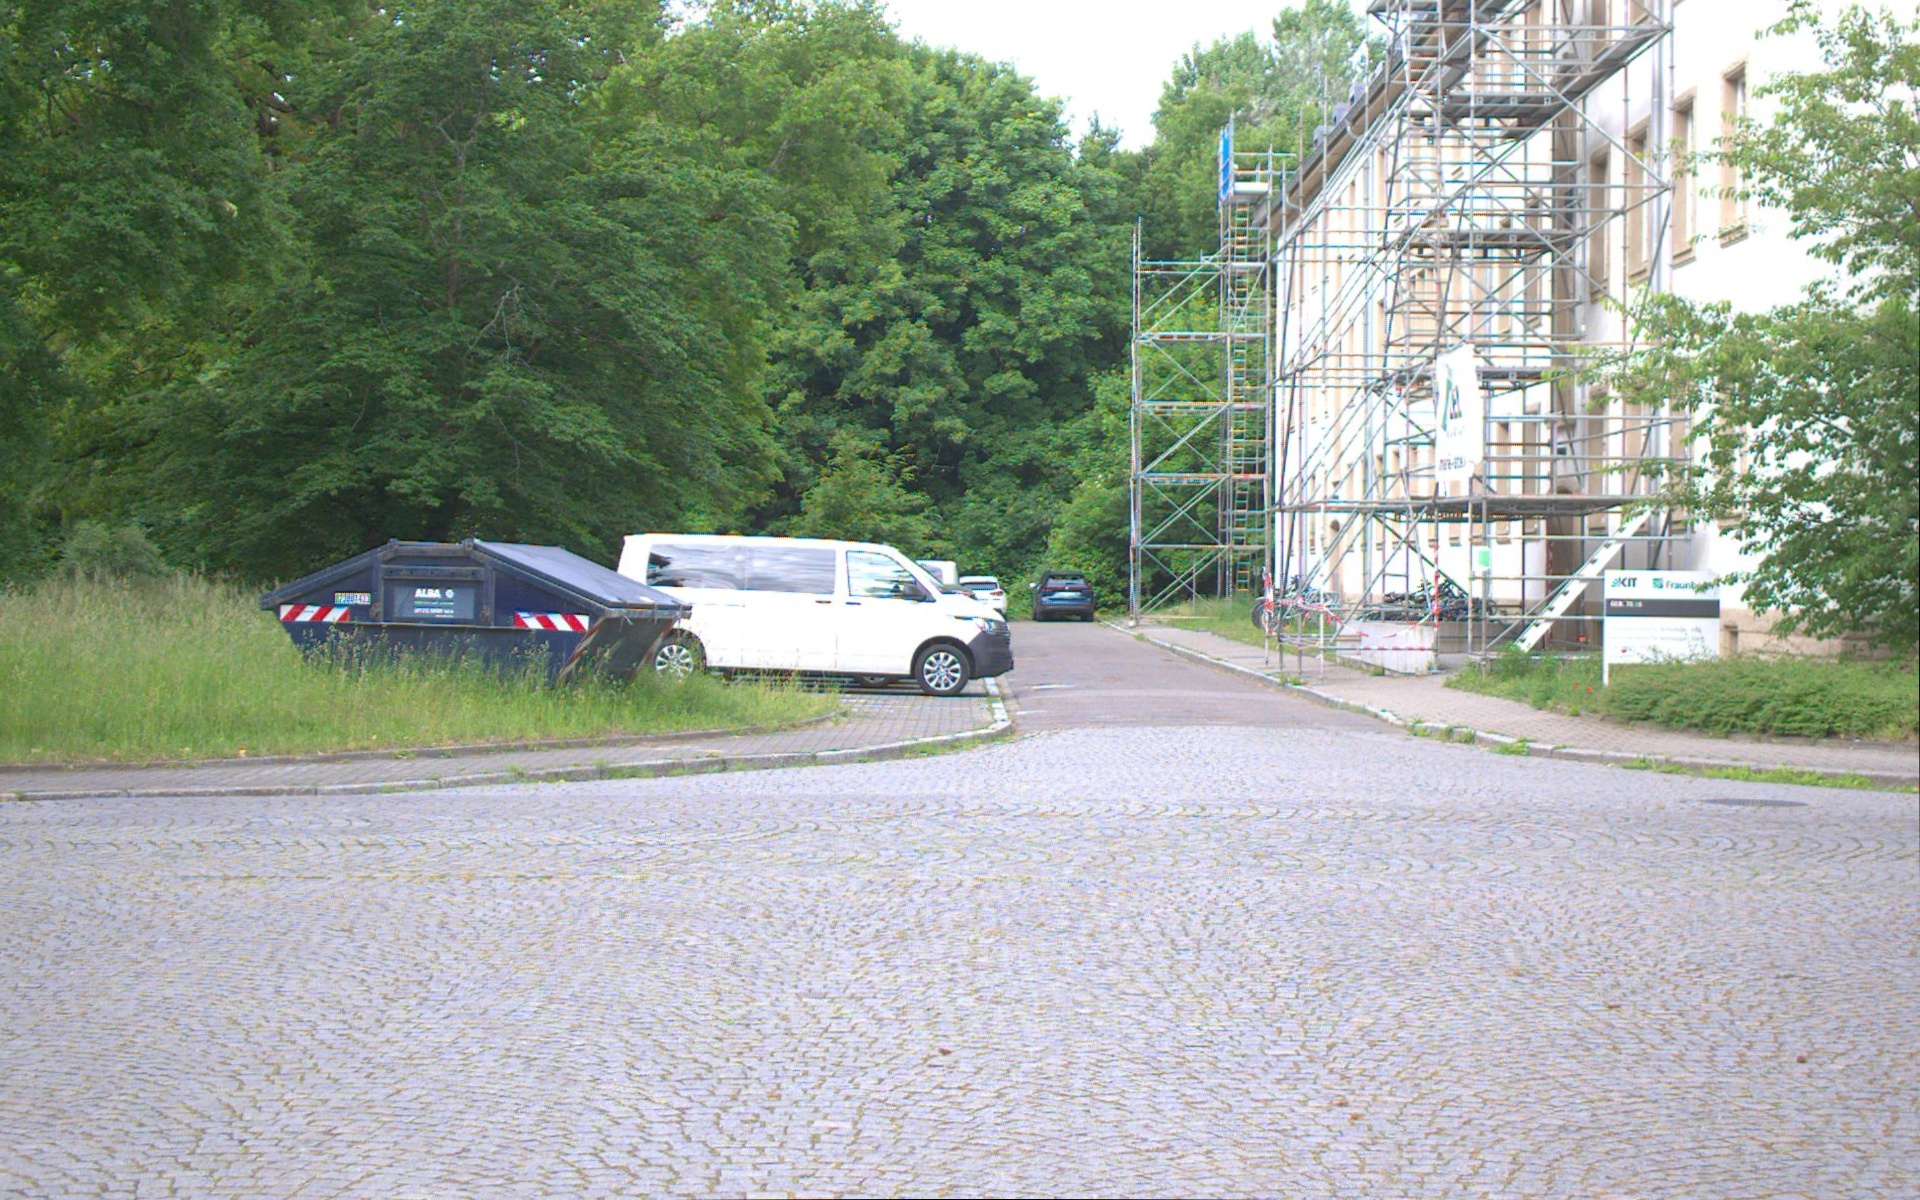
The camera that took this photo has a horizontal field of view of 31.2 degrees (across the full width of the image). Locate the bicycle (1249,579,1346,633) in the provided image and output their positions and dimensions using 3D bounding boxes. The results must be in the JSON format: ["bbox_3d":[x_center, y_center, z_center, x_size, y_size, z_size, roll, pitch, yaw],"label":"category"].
[{"bbox_3d":[7.956,0.140,81.100,2.240,1.250,0.627,1,0,3],"label":"bicycle"}]

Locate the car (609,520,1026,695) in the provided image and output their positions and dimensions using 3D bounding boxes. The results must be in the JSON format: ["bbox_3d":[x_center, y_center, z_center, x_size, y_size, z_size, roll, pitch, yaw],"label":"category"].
[{"bbox_3d":[-1.827,0.092,44.343,5.234,2.160,2.000,1,0,-2],"label":"car"}]

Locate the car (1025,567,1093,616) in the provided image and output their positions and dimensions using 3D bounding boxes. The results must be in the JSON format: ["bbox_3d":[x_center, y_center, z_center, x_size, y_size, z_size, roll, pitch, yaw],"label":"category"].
[{"bbox_3d":[3.166,-0.278,110.601,1.951,1.516,4.000,1,0,-1],"label":"car"}]

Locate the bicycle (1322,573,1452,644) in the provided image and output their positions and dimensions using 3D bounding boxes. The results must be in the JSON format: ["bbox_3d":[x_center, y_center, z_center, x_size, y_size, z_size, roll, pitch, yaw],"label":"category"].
[{"bbox_3d":[7.622,0.145,61.491,2.240,1.250,0.777,1,0,3],"label":"bicycle"}]

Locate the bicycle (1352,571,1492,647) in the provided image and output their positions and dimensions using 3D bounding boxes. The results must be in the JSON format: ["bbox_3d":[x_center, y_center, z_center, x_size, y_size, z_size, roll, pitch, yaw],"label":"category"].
[{"bbox_3d":[7.679,0.146,57.234,2.240,1.250,0.777,1,0,3],"label":"bicycle"}]

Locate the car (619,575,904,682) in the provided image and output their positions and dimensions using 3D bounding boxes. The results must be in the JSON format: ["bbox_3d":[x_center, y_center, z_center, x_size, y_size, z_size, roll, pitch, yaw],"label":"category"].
[{"bbox_3d":[-2.693,0.373,46.944,3.788,1.390,2.000,1,0,-2],"label":"car"}]

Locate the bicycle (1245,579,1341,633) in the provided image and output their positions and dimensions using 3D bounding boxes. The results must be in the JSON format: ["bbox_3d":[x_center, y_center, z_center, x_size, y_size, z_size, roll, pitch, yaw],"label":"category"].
[{"bbox_3d":[7.965,0.140,82.199,2.240,1.250,0.698,1,0,3],"label":"bicycle"}]

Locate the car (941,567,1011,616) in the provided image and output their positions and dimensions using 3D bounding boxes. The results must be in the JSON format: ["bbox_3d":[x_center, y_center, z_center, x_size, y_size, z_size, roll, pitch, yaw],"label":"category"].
[{"bbox_3d":[0.488,-0.283,110.325,2.118,1.516,4.000,1,0,-1],"label":"car"}]

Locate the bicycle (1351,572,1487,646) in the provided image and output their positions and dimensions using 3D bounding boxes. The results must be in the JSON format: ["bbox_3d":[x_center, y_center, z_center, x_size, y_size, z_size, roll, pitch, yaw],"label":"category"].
[{"bbox_3d":[7.889,0.146,59.144,2.240,1.250,0.777,1,0,3],"label":"bicycle"}]

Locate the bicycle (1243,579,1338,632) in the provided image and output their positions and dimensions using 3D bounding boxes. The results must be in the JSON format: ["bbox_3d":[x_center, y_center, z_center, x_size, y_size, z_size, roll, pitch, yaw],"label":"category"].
[{"bbox_3d":[7.970,0.140,83.044,2.240,1.250,0.634,1,0,3],"label":"bicycle"}]
